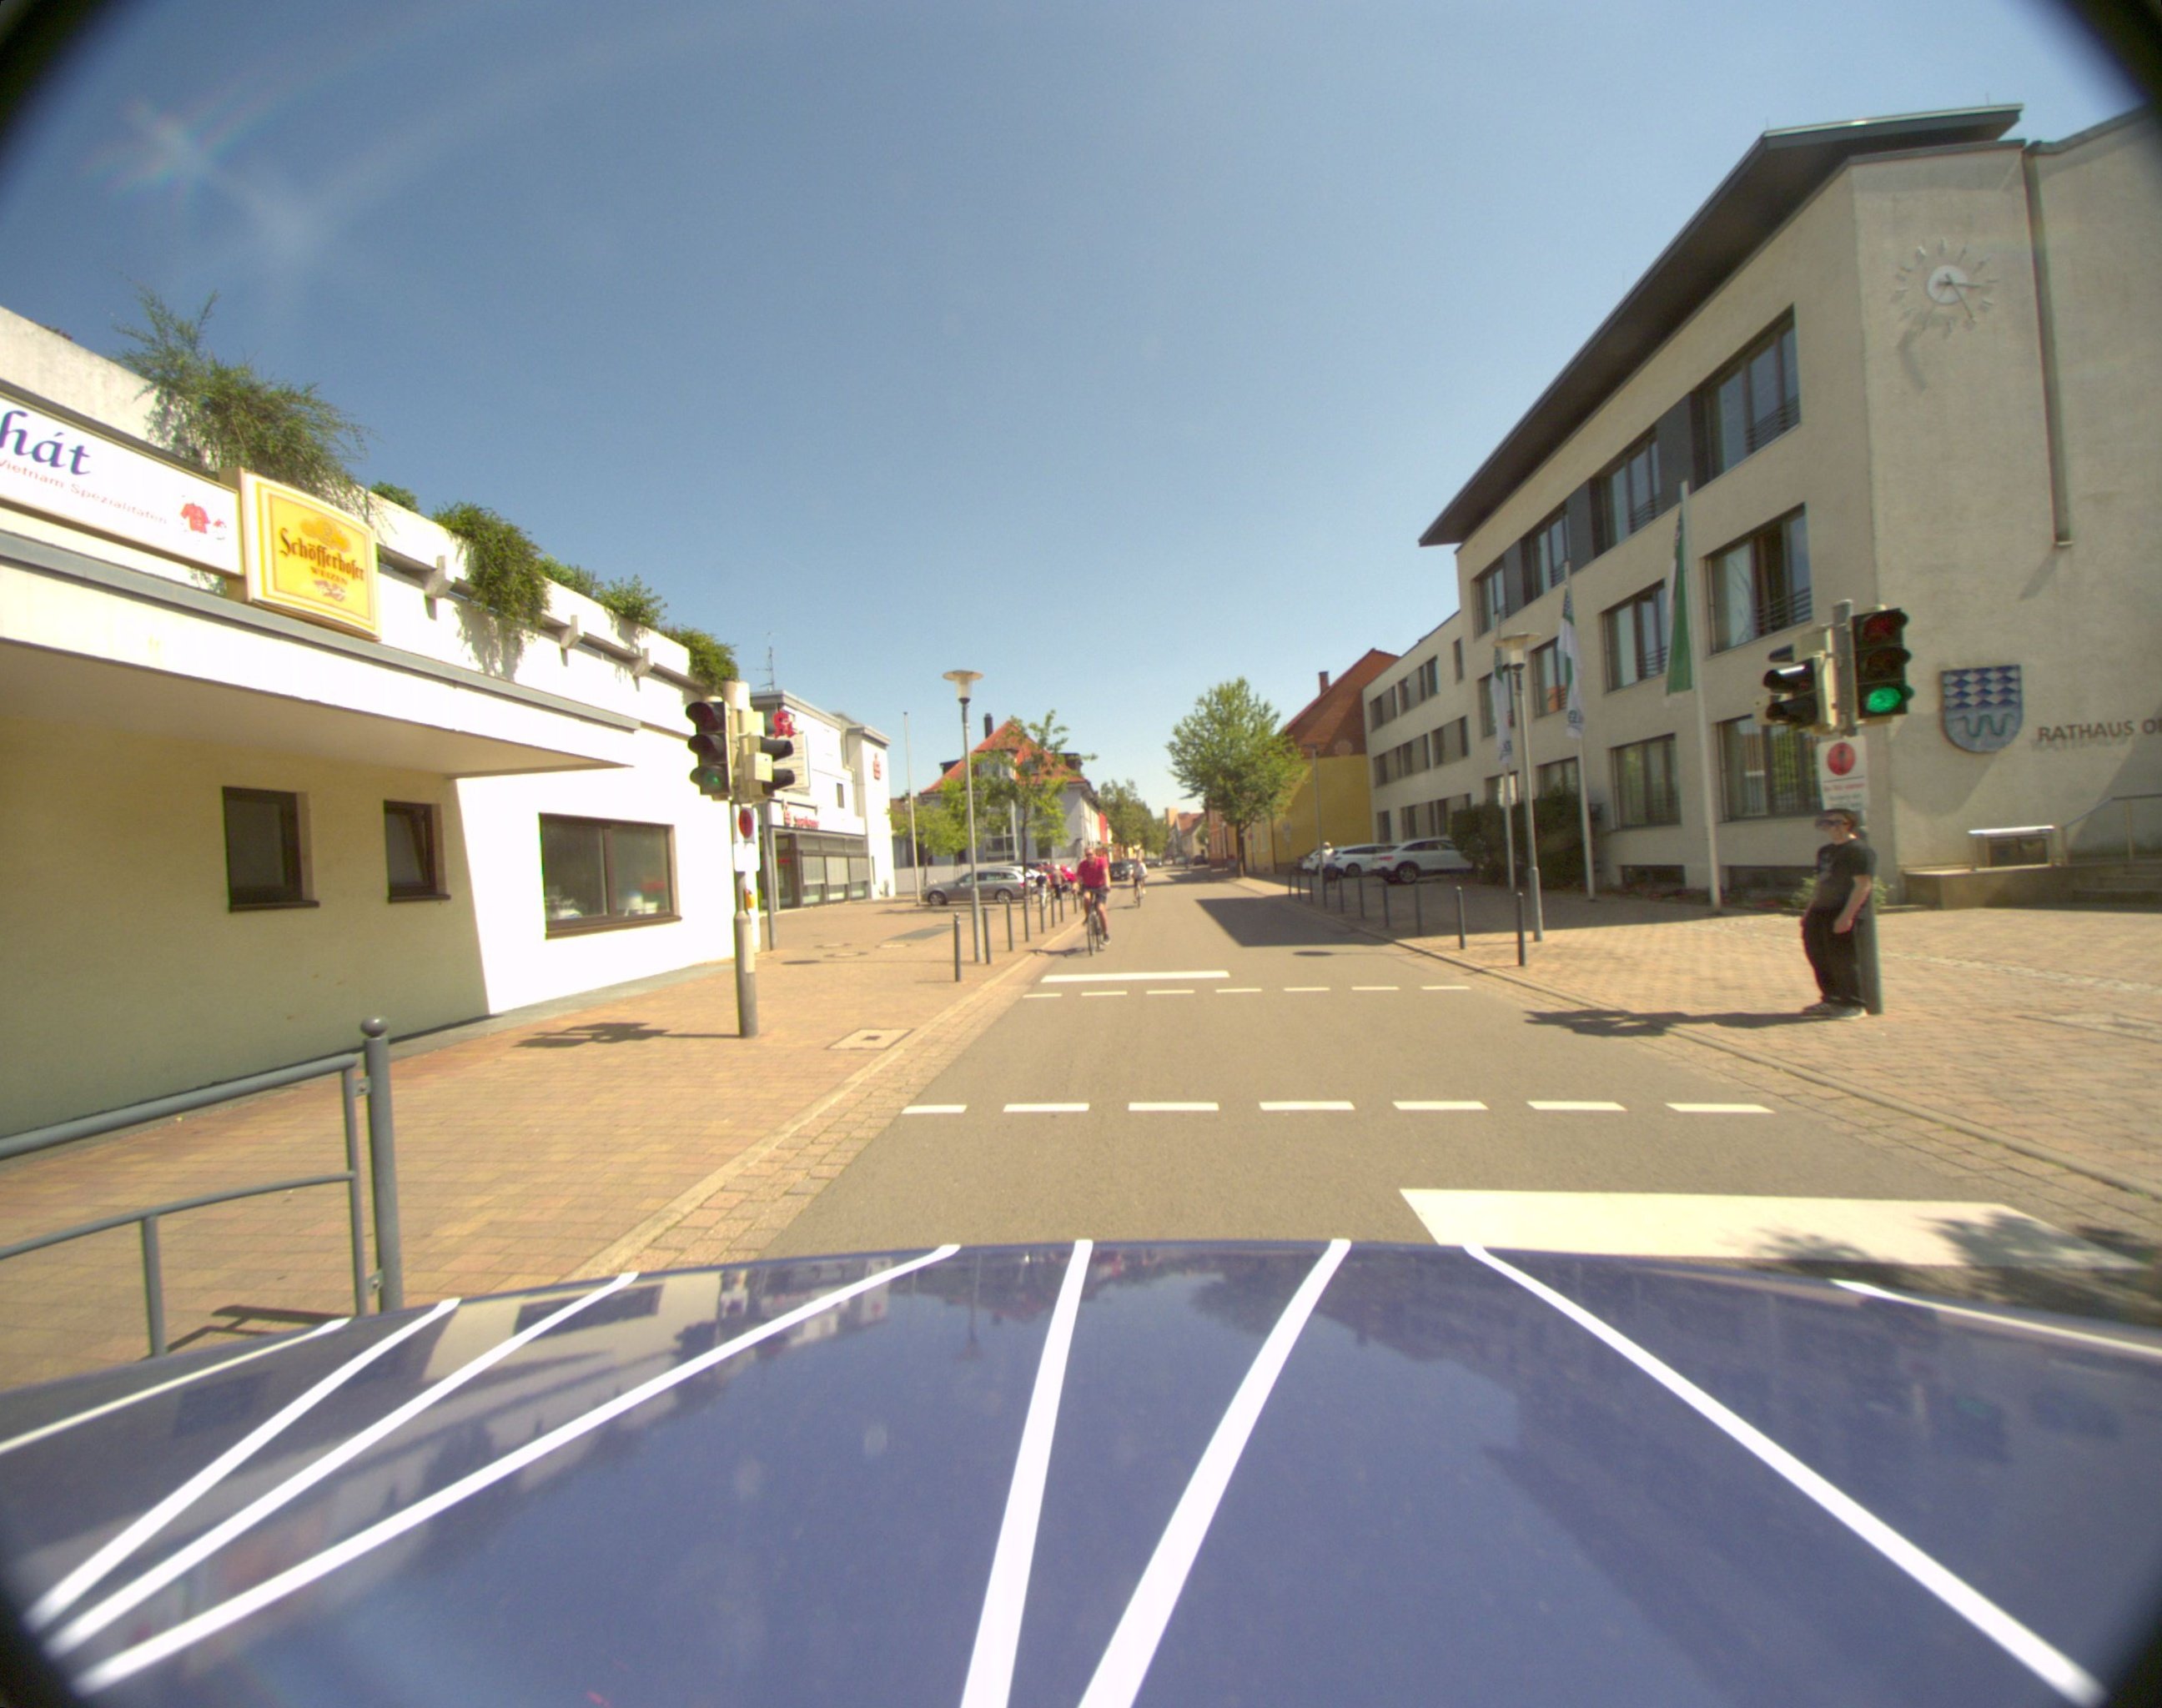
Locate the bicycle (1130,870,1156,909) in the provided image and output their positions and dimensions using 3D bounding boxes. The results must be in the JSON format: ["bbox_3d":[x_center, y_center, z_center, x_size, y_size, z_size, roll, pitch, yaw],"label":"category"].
[{"bbox_3d":[2.108,1.203,26.084,0.689,1.182,1.800,-6,0,2],"label":"bicycle"}]

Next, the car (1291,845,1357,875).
[{"bbox_3d":[13.756,0.339,43.099,3.257,1.393,1.375,-5,0,4],"label":"car"}]

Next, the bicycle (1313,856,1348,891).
[{"bbox_3d":[9.253,0.704,28.290,0.710,1.244,1.973,-3,0,3],"label":"bicycle"}]

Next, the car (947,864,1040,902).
[{"bbox_3d":[-3.993,1.295,34.992,4.045,1.550,1.713,-2,0,-1],"label":"car"}]

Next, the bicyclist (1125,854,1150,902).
[{"bbox_3d":[1.926,0.817,25.989,0.702,1.572,0.878,-4,1,3],"label":"bicyclist"}]

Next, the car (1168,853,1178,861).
[{"bbox_3d":[20.820,0.599,171.980,1.998,1.696,4.002,-3,0,5],"label":"car"}]

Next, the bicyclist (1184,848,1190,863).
[{"bbox_3d":[11.857,0.180,84.876,0.538,1.630,0.551,-3,0,4],"label":"bicyclist"}]

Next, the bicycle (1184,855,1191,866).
[{"bbox_3d":[11.858,0.725,84.850,0.594,1.182,1.726,-4,0,4],"label":"bicycle"}]

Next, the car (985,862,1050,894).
[{"bbox_3d":[-3.531,1.342,42.809,3.429,1.543,1.491,-3,0,1],"label":"car"}]

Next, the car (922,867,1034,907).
[{"bbox_3d":[-4.283,1.369,32.138,4.443,1.457,1.690,-2,1,0],"label":"car"}]

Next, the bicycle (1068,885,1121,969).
[{"bbox_3d":[0.254,1.203,13.098,0.738,1.182,1.971,-6,0,2],"label":"bicycle"}]

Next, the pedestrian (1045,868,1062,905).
[{"bbox_3d":[-1.130,1.325,31.340,0.531,1.492,0.724,-3,0,5],"label":"pedestrian"}]

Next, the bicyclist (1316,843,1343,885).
[{"bbox_3d":[9.252,0.377,28.318,0.716,1.497,0.871,-3,0,3],"label":"bicyclist"}]

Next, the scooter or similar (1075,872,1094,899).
[{"bbox_3d":[0.168,1.356,32.678,0.505,1.112,0.910,-2,0,18],"label":"scooter or similar"}]

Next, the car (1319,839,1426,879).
[{"bbox_3d":[13.616,0.240,35.667,4.322,1.470,1.514,-5,0,6],"label":"car"}]

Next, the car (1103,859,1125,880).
[{"bbox_3d":[2.464,1.140,57.201,1.529,1.444,3.522,-3,0,1],"label":"car"}]

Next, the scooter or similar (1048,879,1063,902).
[{"bbox_3d":[-1.069,1.524,31.934,0.535,0.940,0.547,-3,0,6],"label":"scooter or similar"}]

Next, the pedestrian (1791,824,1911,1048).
[{"bbox_3d":[5.900,0.596,5.851,0.548,1.609,0.558,-3,1,40],"label":"pedestrian"}]

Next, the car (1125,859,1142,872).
[{"bbox_3d":[5.268,1.159,76.612,1.529,1.298,3.251,-2,0,0],"label":"car"}]

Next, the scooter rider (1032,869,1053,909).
[{"bbox_3d":[-1.322,1.195,26.357,0.462,1.317,1.133,-3,0,7],"label":"scooter rider"}]

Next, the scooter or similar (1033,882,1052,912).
[{"bbox_3d":[-1.325,1.466,26.296,0.411,0.959,0.960,-3,0,8],"label":"scooter or similar"}]

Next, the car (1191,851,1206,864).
[{"bbox_3d":[17.515,0.457,113.554,1.825,1.805,4.002,-3,0,5],"label":"car"}]

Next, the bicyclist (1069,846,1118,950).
[{"bbox_3d":[0.234,0.744,13.262,0.702,1.706,0.760,-4,1,3],"label":"bicyclist"}]

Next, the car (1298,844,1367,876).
[{"bbox_3d":[13.490,0.323,40.903,3.137,1.441,1.643,-5,0,6],"label":"car"}]

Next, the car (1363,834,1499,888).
[{"bbox_3d":[12.555,0.254,27.462,3.996,1.538,1.749,-5,0,4],"label":"car"}]

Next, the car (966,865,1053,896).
[{"bbox_3d":[-3.743,1.392,40.280,4.444,1.434,1.656,-2,0,-2],"label":"car"}]

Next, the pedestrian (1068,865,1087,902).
[{"bbox_3d":[-0.139,1.219,31.726,0.512,1.507,1.050,0,0,17],"label":"pedestrian"}]

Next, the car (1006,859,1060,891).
[{"bbox_3d":[-2.799,1.224,44.888,3.039,1.727,1.345,-2,0,1],"label":"car"}]
